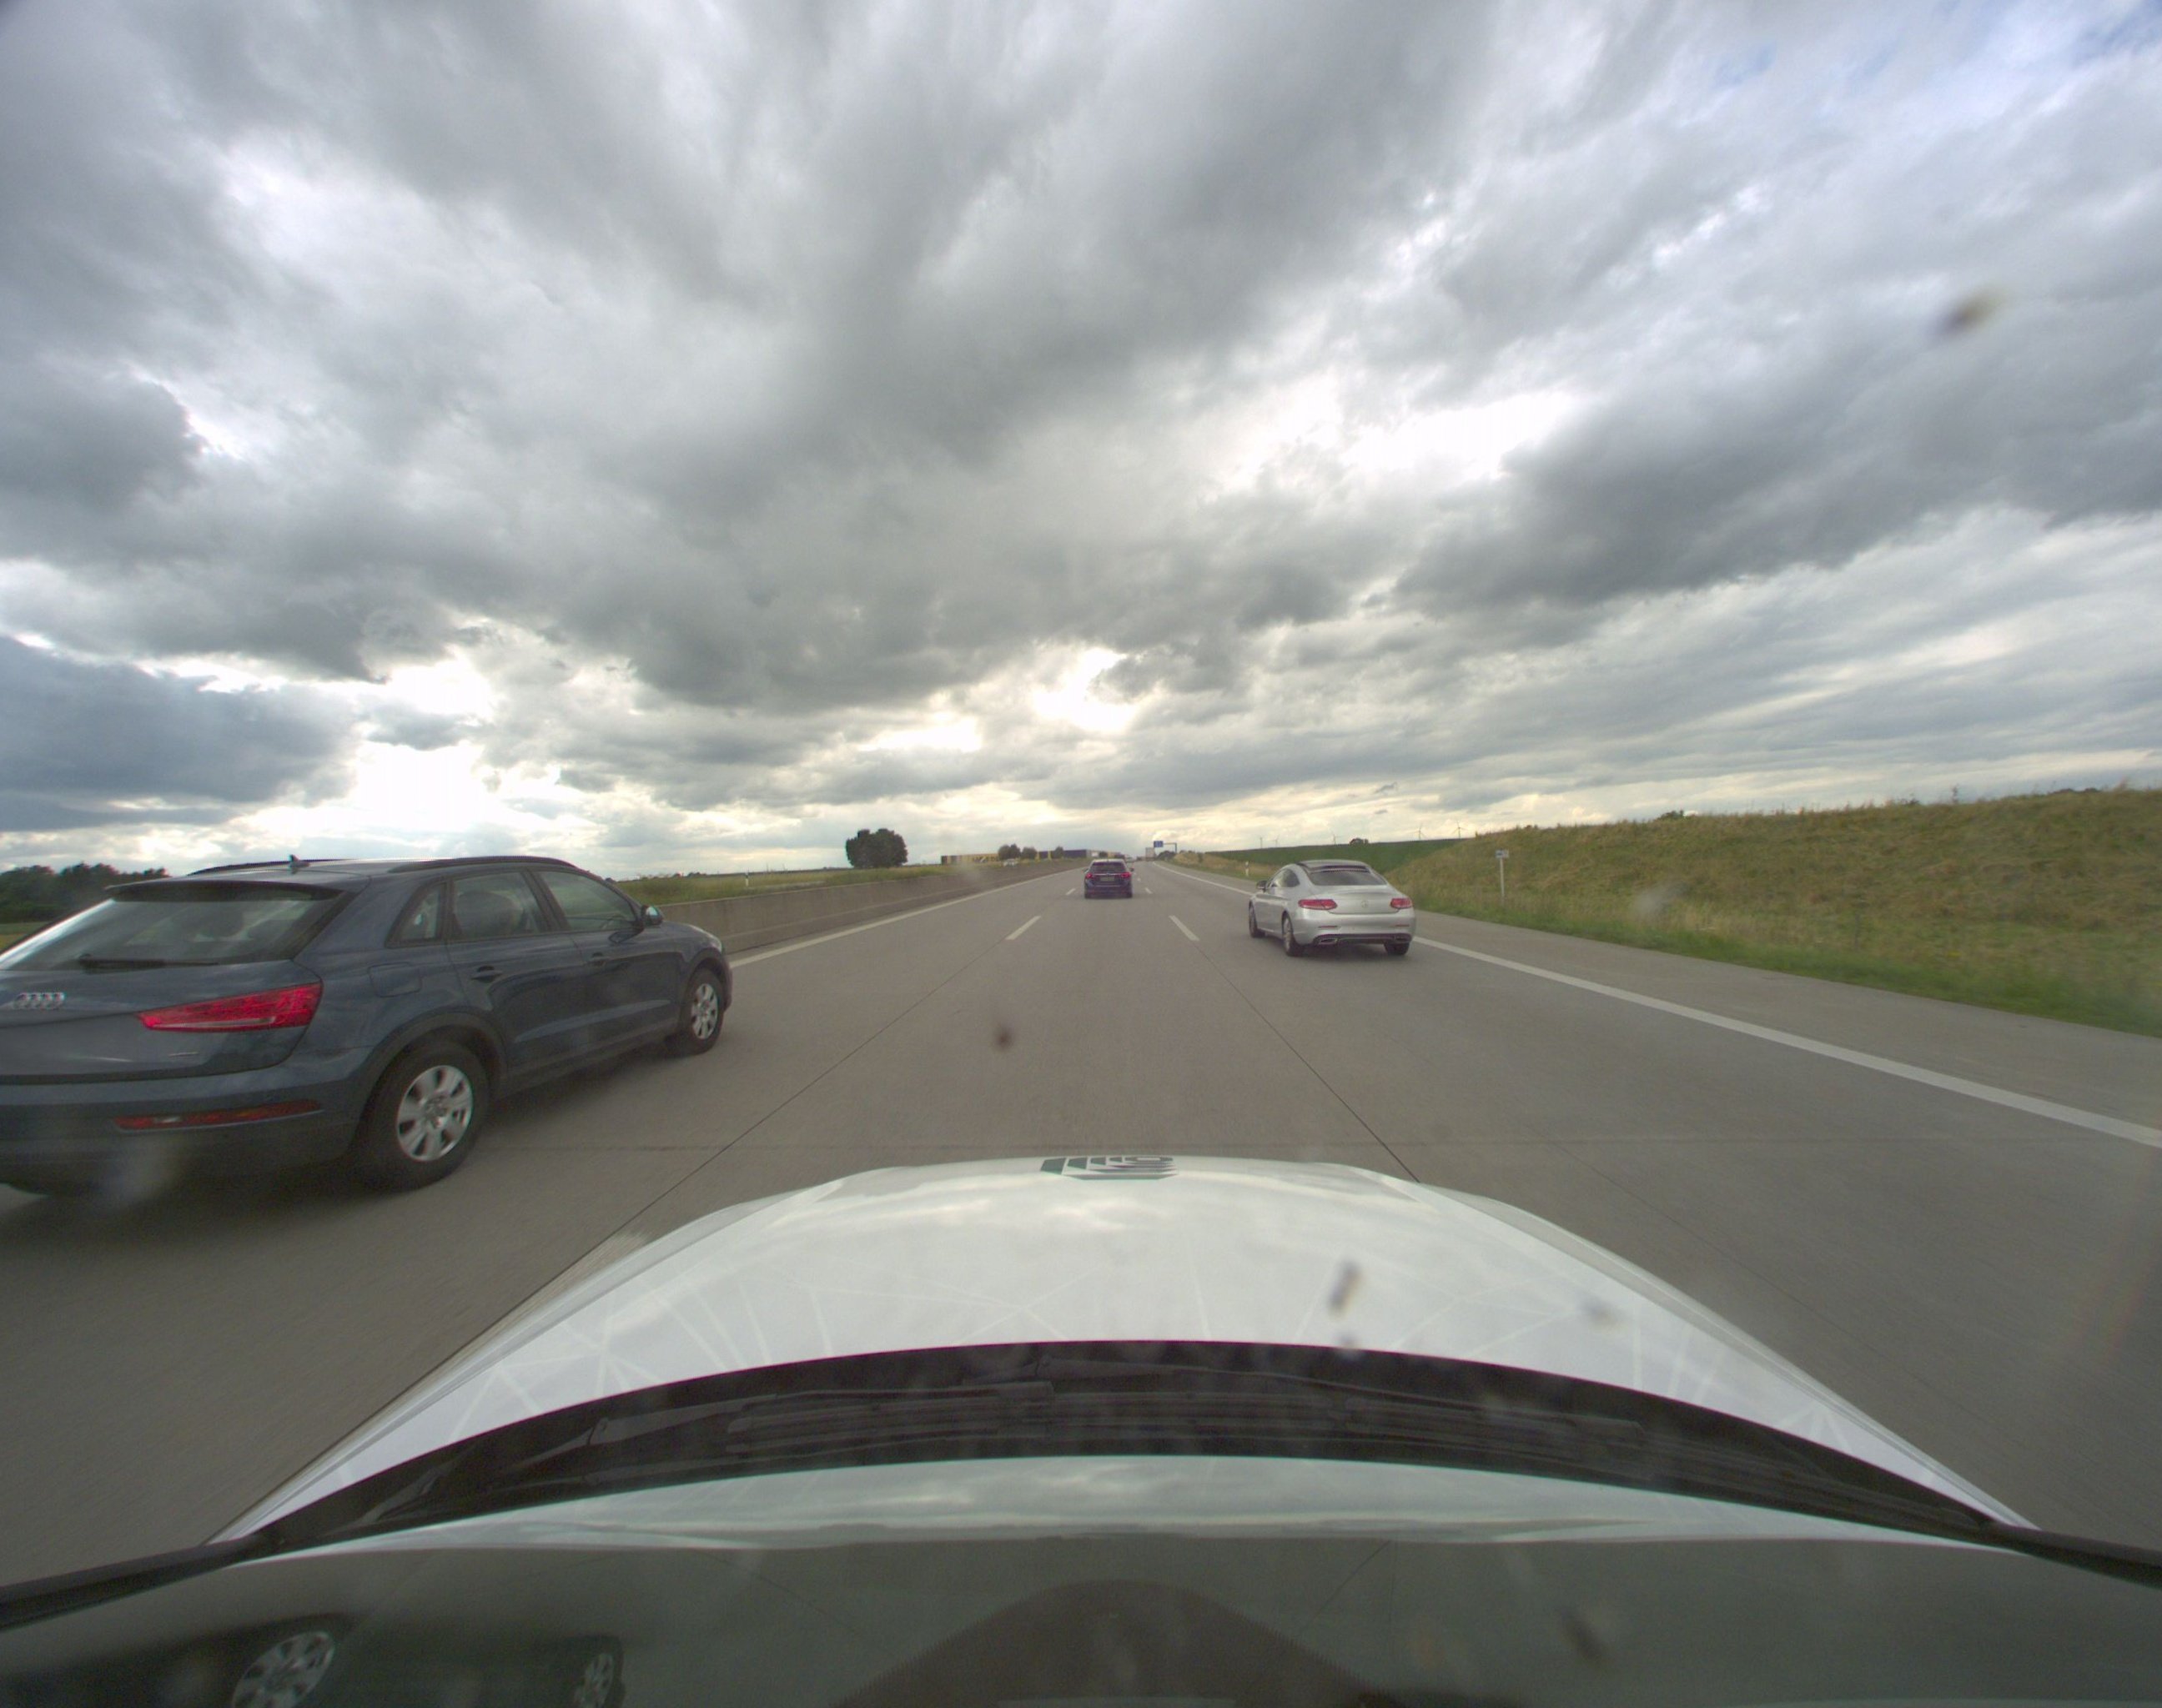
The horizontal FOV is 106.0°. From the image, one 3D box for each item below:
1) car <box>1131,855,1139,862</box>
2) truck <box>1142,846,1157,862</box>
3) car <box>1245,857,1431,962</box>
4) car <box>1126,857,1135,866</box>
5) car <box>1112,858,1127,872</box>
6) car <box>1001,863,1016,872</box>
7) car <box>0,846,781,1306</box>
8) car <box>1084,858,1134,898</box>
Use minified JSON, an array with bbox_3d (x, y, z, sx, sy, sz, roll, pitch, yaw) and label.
[{"bbox_3d":[15.463,1.225,233.302,1.986,2.014,4.001,0,-1,1],"label":"car"},{"bbox_3d":[20.855,-0.025,249.598,3.936,4.756,12.079,0,-1,2],"label":"truck"},{"bbox_3d":[3.918,0.783,13.196,1.782,1.403,4.222,-1,-1,2],"label":"car"},{"bbox_3d":[11.190,1.747,183.103,1.985,2.014,4.003,0,0,3],"label":"car"},{"bbox_3d":[5.846,1.677,123.757,1.987,2.014,3.999,0,-1,0],"label":"car"},{"bbox_3d":[-12.416,2.350,139.515,1.889,1.470,4.853,0,-1,3],"label":"car"},{"bbox_3d":[-3.848,0.788,5.417,1.787,1.596,5.156,0,0,0],"label":"car"},{"bbox_3d":[1.047,0.887,31.146,1.768,1.413,4.001,-1,-1,1],"label":"car"}]
